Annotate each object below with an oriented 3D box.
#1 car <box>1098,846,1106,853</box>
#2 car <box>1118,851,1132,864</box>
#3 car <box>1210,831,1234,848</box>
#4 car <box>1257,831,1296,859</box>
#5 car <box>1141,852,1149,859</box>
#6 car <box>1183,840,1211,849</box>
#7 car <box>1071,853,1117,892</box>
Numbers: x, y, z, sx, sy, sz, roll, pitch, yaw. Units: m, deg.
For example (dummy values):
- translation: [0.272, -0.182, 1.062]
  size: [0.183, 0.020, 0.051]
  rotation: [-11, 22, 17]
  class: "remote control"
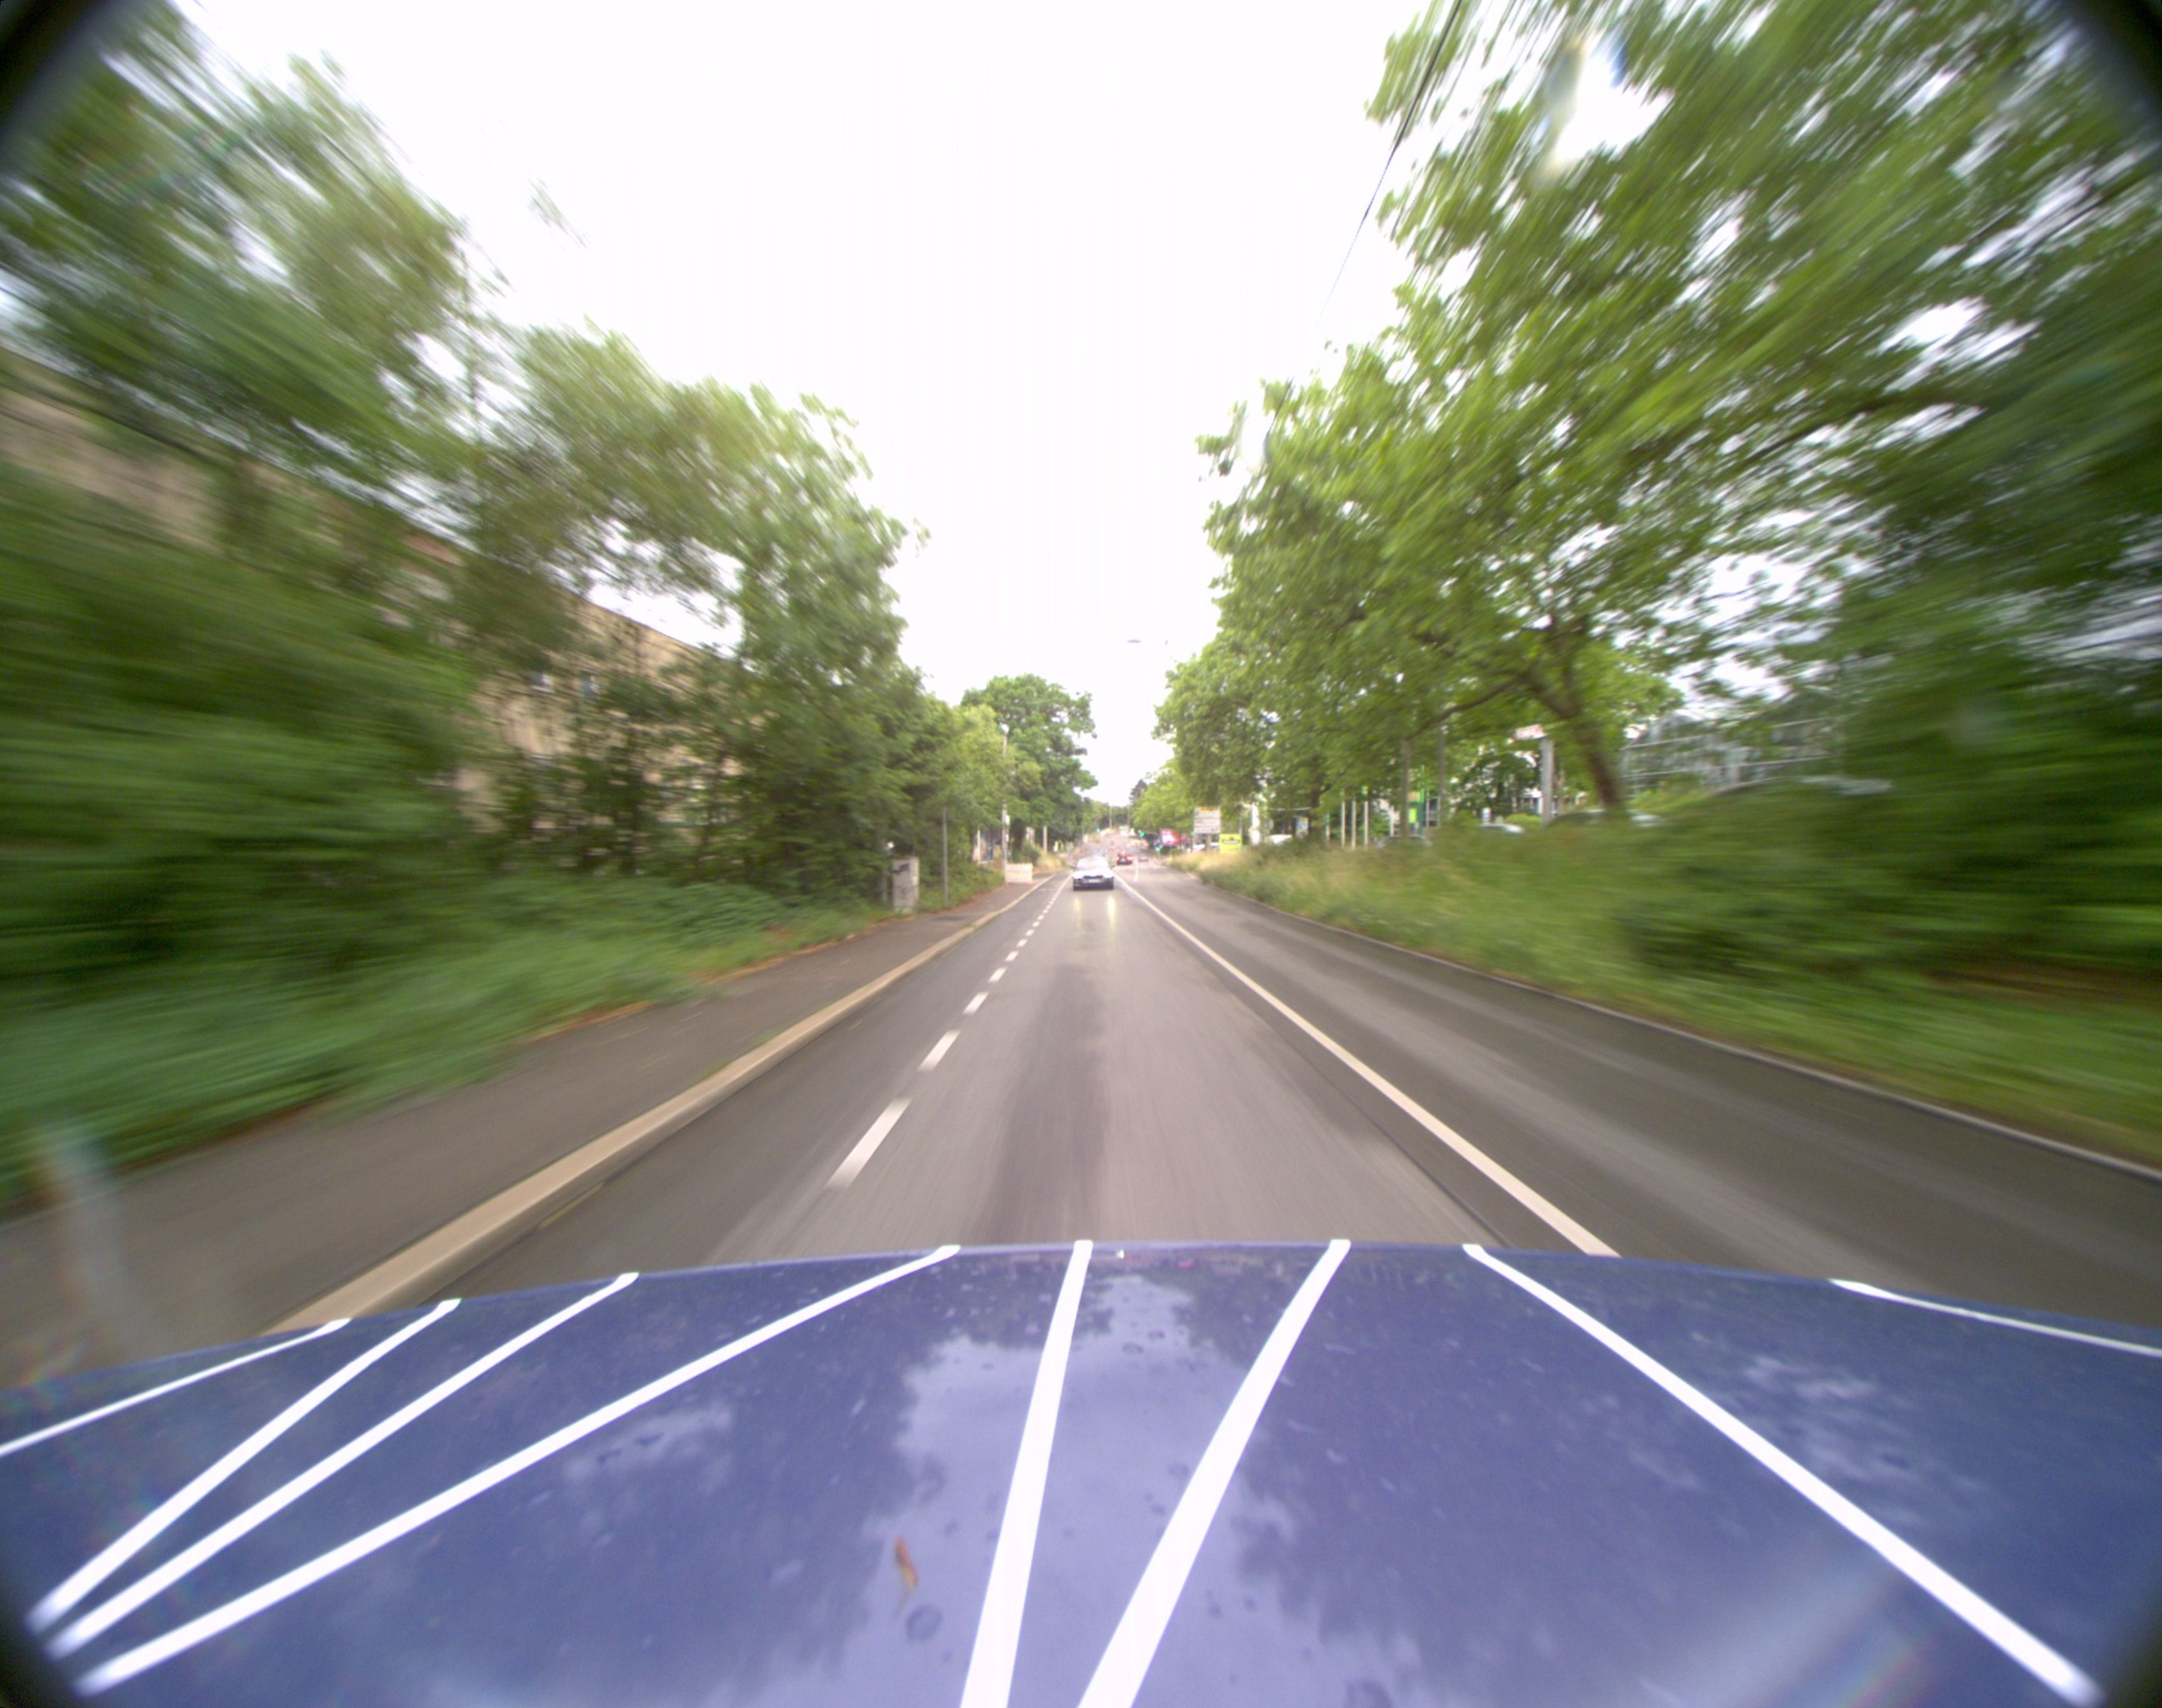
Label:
- translation: [4.918, -1.083, 178.971]
  size: [1.752, 1.362, 3.755]
  rotation: [-4, 2, 0]
  class: "car"
- translation: [6.593, 0.477, 114.758]
  size: [2.019, 1.856, 5.042]
  rotation: [0, 0, 2]
  class: "car"
- translation: [12.261, -1.295, 66.140]
  size: [1.364, 1.387, 3.706]
  rotation: [0, 2, 0]
  class: "car"
- translation: [18.187, -0.778, 70.886]
  size: [1.968, 2.429, 5.655]
  rotation: [0, -1, -3]
  class: "car"
- translation: [12.572, 0.246, 149.526]
  size: [1.380, 1.216, 2.452]
  rotation: [0, 2, 1]
  class: "car"
- translation: [23.737, -1.907, 155.534]
  size: [5.371, 1.792, 2.218]
  rotation: [-1, 2, -5]
  class: "car"
- translation: [0.586, 0.759, 33.111]
  size: [1.810, 1.509, 4.052]
  rotation: [-3, 0, 1]
  class: "car"
